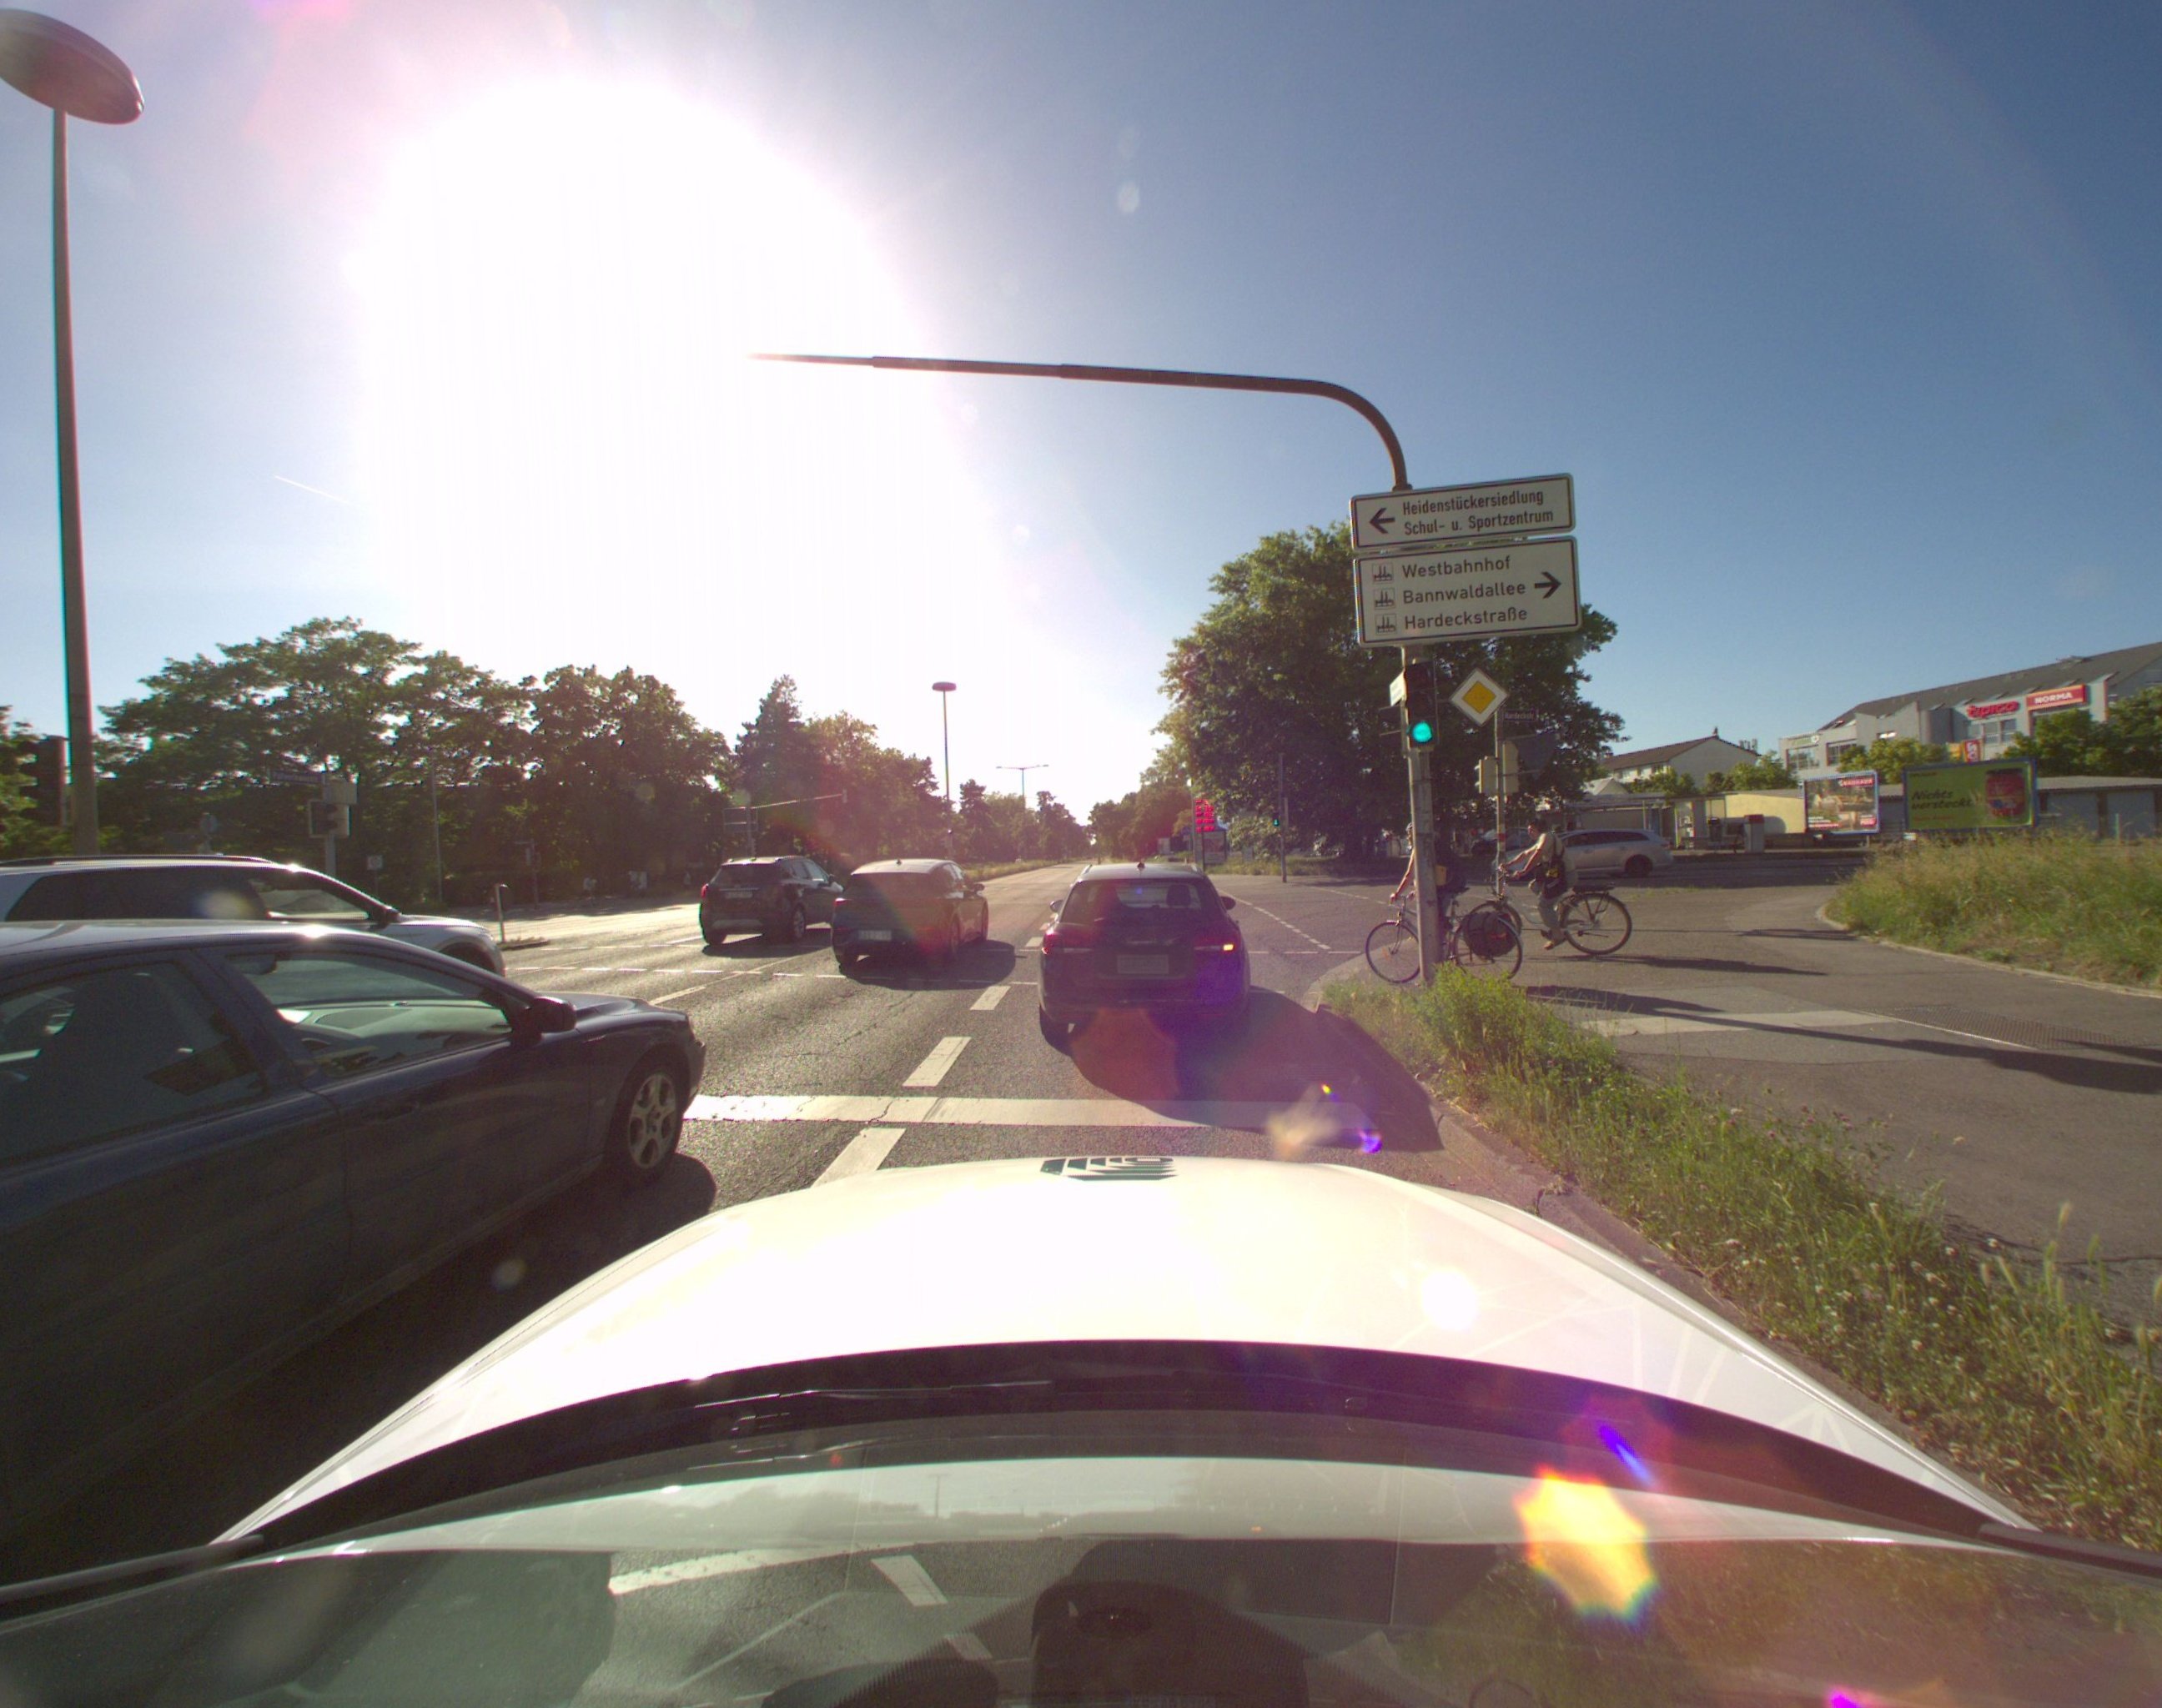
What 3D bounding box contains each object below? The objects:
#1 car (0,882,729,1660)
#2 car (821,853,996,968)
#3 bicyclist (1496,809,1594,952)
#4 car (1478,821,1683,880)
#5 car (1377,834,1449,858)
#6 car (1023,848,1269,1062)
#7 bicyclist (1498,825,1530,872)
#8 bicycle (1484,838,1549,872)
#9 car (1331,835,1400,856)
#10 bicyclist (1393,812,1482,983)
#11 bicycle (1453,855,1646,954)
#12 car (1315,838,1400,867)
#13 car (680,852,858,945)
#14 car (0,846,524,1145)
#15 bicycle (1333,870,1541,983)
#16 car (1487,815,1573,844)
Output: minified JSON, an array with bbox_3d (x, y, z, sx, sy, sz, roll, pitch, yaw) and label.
[{"bbox_3d":[-2.954,0.845,2.443,1.830,1.395,4.365,0,0,1],"label":"car"},{"bbox_3d":[-2.619,0.798,13.487,1.830,1.588,4.366,0,-1,2],"label":"car"},{"bbox_3d":[5.560,0.333,9.774,0.797,1.635,0.546,-7,-5,40],"label":"bicyclist"},{"bbox_3d":[14.738,-0.082,24.335,4.839,1.489,1.849,-3,-1,13],"label":"car"},{"bbox_3d":[20.920,-0.492,51.386,3.985,1.512,1.527,0,-1,-9],"label":"car"},{"bbox_3d":[0.608,0.730,8.127,1.754,1.491,4.295,-2,1,3],"label":"car"},{"bbox_3d":[15.937,-0.201,29.986,0.823,1.641,0.544,-3,-1,7],"label":"bicyclist"},{"bbox_3d":[15.997,0.045,29.960,2.008,1.141,0.530,-3,0,7],"label":"bicycle"},{"bbox_3d":[18.925,-0.580,54.276,3.987,1.335,1.793,0,-1,-10],"label":"car"},{"bbox_3d":[3.711,0.449,8.476,0.578,1.697,0.530,-7,-5,41],"label":"bicyclist"},{"bbox_3d":[5.566,0.629,9.770,1.846,1.077,0.534,-7,-5,41],"label":"bicycle"},{"bbox_3d":[20.233,-0.100,59.766,5.615,2.099,2.000,0,-1,0],"label":"car"},{"bbox_3d":[-6.236,0.821,16.895,1.903,1.653,4.366,0,-1,2],"label":"car"},{"bbox_3d":[-6.812,0.804,6.151,1.934,1.653,4.370,0,-1,5],"label":"car"},{"bbox_3d":[3.693,0.776,8.571,1.846,1.077,0.534,-7,-5,41],"label":"bicycle"},{"bbox_3d":[23.067,-1.235,41.877,4.003,1.376,1.747,0,-1,-22],"label":"car"}]
